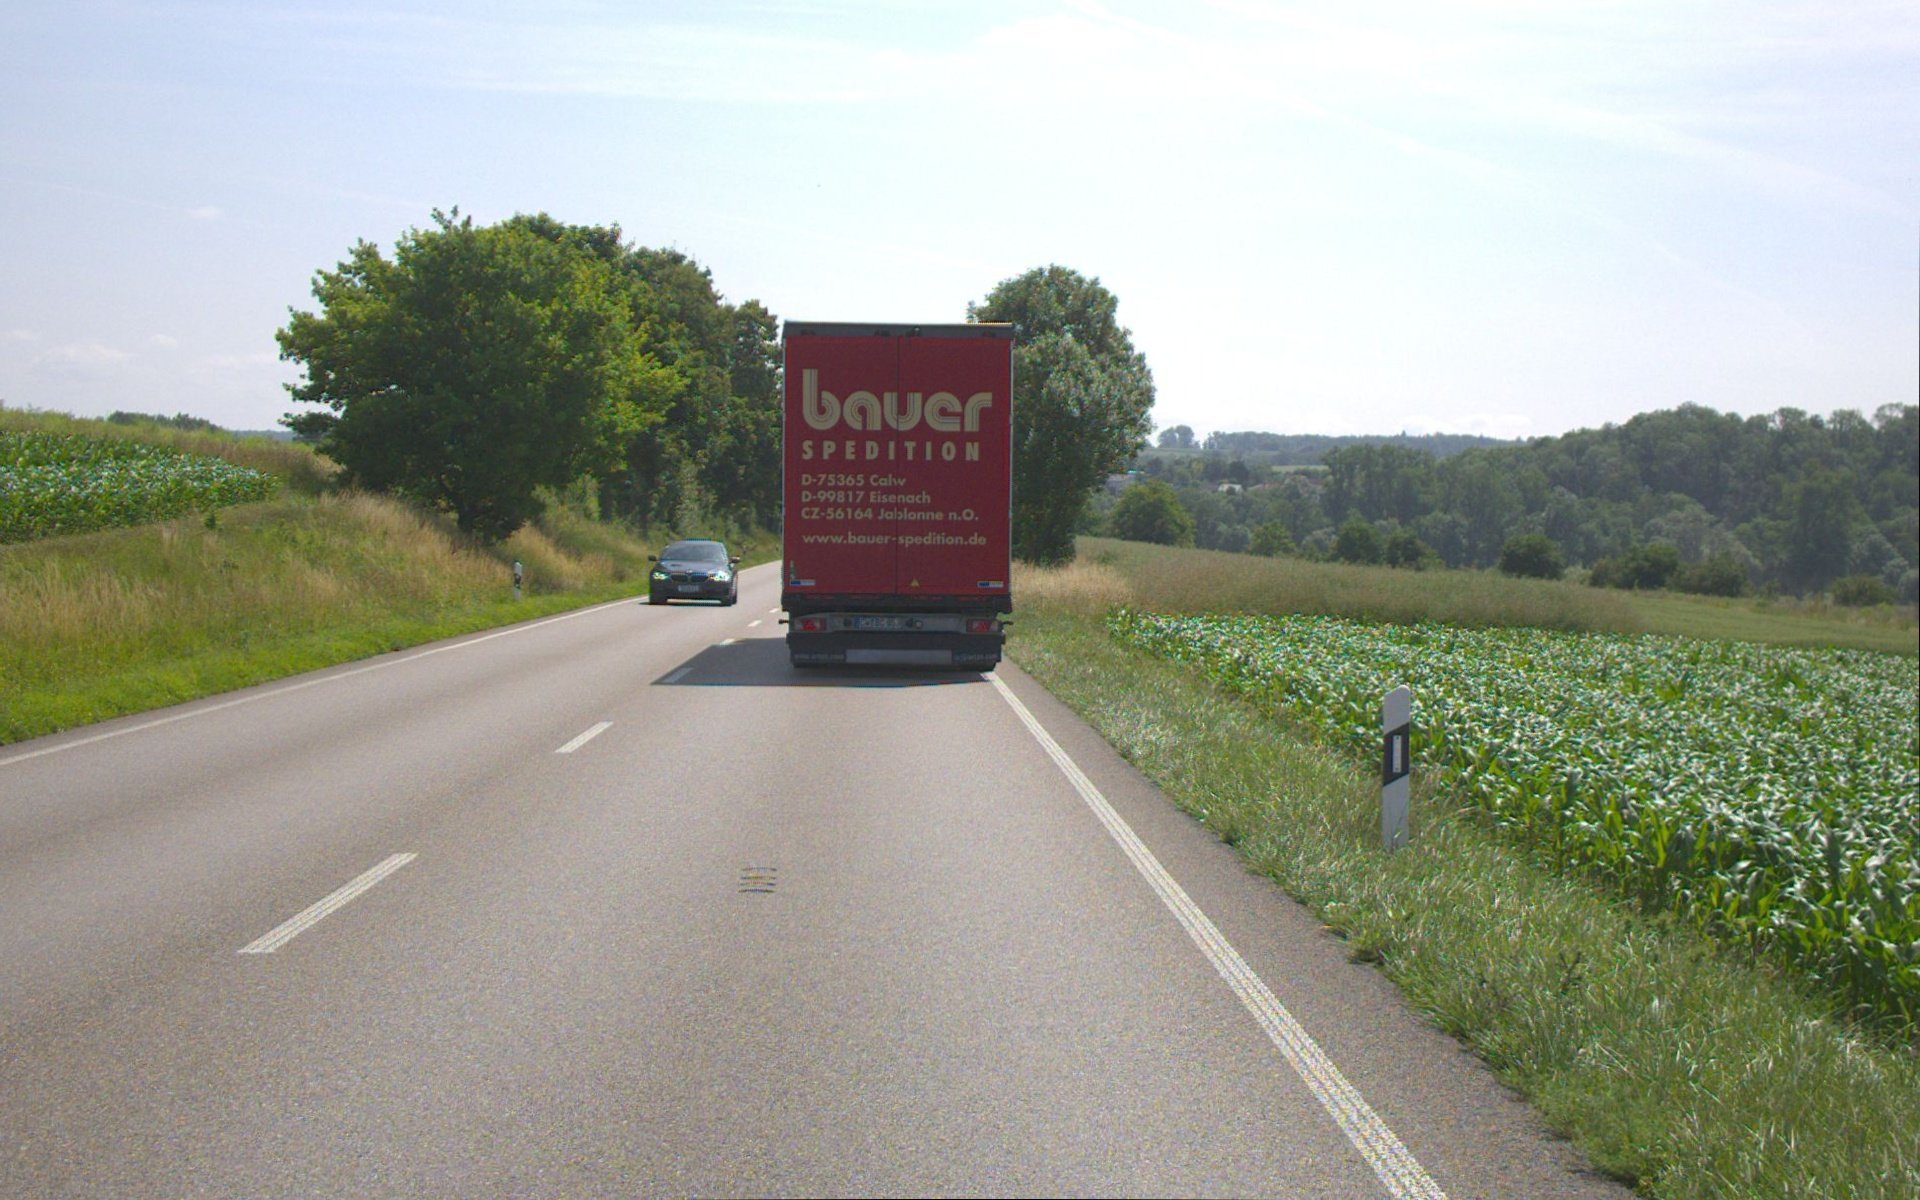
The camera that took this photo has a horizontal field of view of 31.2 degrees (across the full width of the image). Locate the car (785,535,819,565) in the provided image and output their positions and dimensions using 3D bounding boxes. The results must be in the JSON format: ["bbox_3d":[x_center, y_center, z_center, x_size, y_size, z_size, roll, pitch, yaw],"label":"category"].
[{"bbox_3d":[-8.281,-2.613,180.285,1.656,1.529,4.358,2,1,-1],"label":"car"}]

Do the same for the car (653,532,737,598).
[{"bbox_3d":[-6.023,-0.819,78.492,1.673,1.452,4.351,1,1,-1],"label":"car"}]

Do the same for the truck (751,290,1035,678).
[{"bbox_3d":[-0.702,-1.305,42.047,3.094,4.248,8.314,0,0,1],"label":"truck"}]
